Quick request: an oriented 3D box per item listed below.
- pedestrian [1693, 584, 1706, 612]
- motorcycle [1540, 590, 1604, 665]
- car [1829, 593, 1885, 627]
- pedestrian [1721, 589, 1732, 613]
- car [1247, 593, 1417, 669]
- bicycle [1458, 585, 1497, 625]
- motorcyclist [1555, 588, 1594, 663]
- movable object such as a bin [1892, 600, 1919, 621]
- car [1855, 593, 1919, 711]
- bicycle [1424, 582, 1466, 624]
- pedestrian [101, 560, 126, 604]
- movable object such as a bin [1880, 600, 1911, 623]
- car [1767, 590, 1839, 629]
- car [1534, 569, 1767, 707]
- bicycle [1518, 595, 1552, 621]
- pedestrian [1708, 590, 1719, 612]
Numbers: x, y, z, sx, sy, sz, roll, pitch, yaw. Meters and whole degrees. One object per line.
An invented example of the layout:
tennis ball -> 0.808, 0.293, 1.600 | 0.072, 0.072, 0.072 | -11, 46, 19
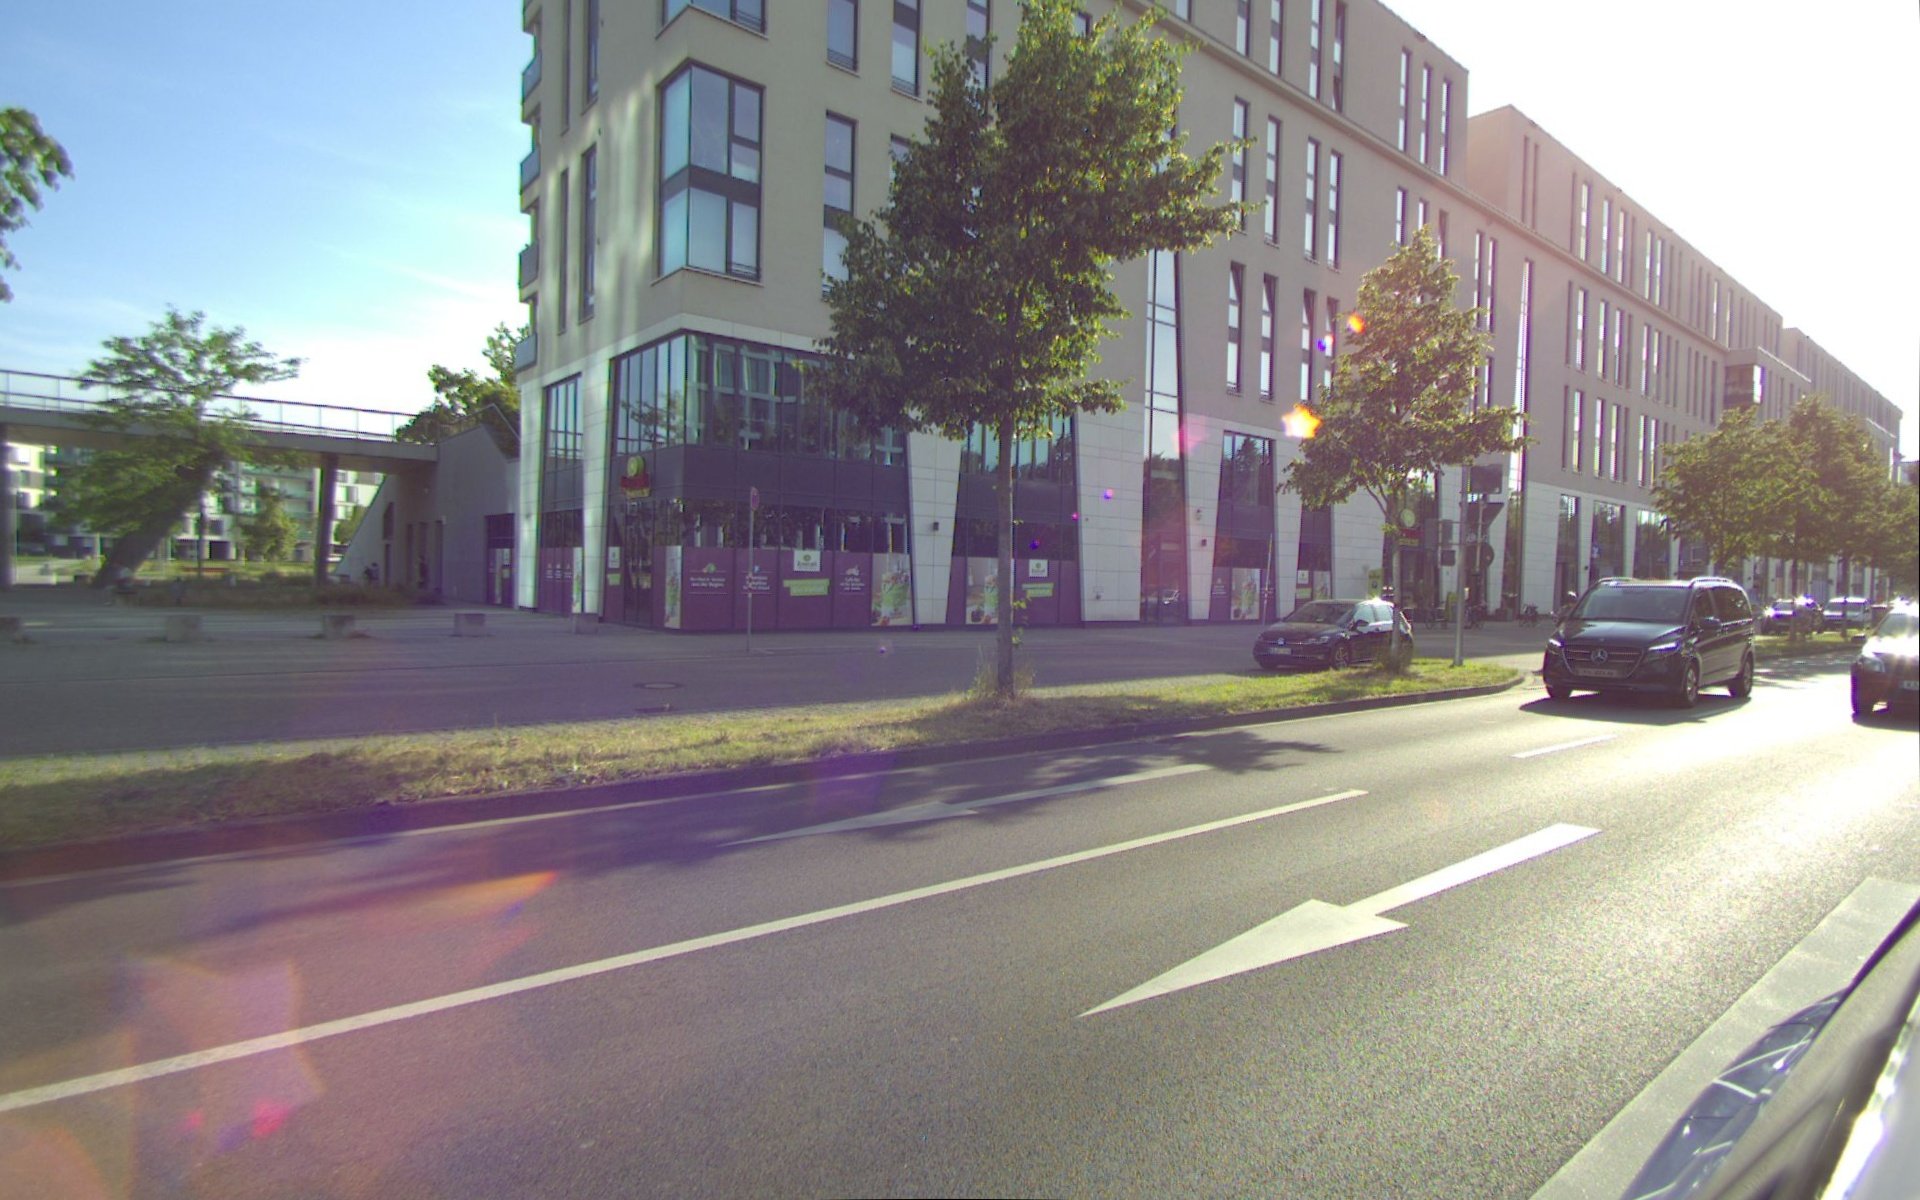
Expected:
pedestrian -> 46.860, -0.134, 64.103 | 0.635, 1.785, 0.538 | 0, 0, -39
motorcycle -> 13.896, 0.587, 22.970 | 1.977, 1.638, 0.702 | -1, 0, -42
car -> 48.637, 0.499, 54.852 | 4.222, 1.733, 1.830 | -1, 0, -42
pedestrian -> 53.299, 0.063, 70.377 | 0.536, 1.594, 0.508 | 0, 0, 36
car -> 7.720, 0.571, 20.800 | 4.087, 1.388, 1.609 | -1, 0, -43
bicycle -> 20.931, 0.179, 40.910 | 2.173, 1.587, 0.556 | -1, 0, -39
motorcyclist -> 13.942, 0.568, 22.965 | 0.411, 1.660, 0.624 | 0, 2, -43
movable object such as a bin -> 57.801, 0.617, 61.737 | 1.171, 1.252, 1.279 | 0, 0, -43
car -> 14.252, 0.674, 14.390 | 3.929, 1.527, 1.738 | -1, 0, -40
bicycle -> 18.899, 0.104, 39.433 | 2.235, 1.590, 0.556 | -1, 0, -39
pedestrian -> -25.688, -0.541, 30.718 | 0.571, 1.310, 0.597 | 0, 0, -39
movable object such as a bin -> 55.523, 0.661, 60.054 | 1.158, 1.307, 1.279 | 0, 0, -43
car -> 39.299, 0.439, 47.165 | 4.596, 1.730, 1.900 | 1, 0, -41
car -> 11.031, 0.493, 16.033 | 4.694, 1.890, 1.863 | -1, 0, -40
bicycle -> 25.503, 0.361, 44.876 | 1.870, 1.097, 0.635 | 0, 2, -39
pedestrian -> 52.859, 0.071, 70.964 | 0.587, 1.541, 0.514 | 0, 0, -40
